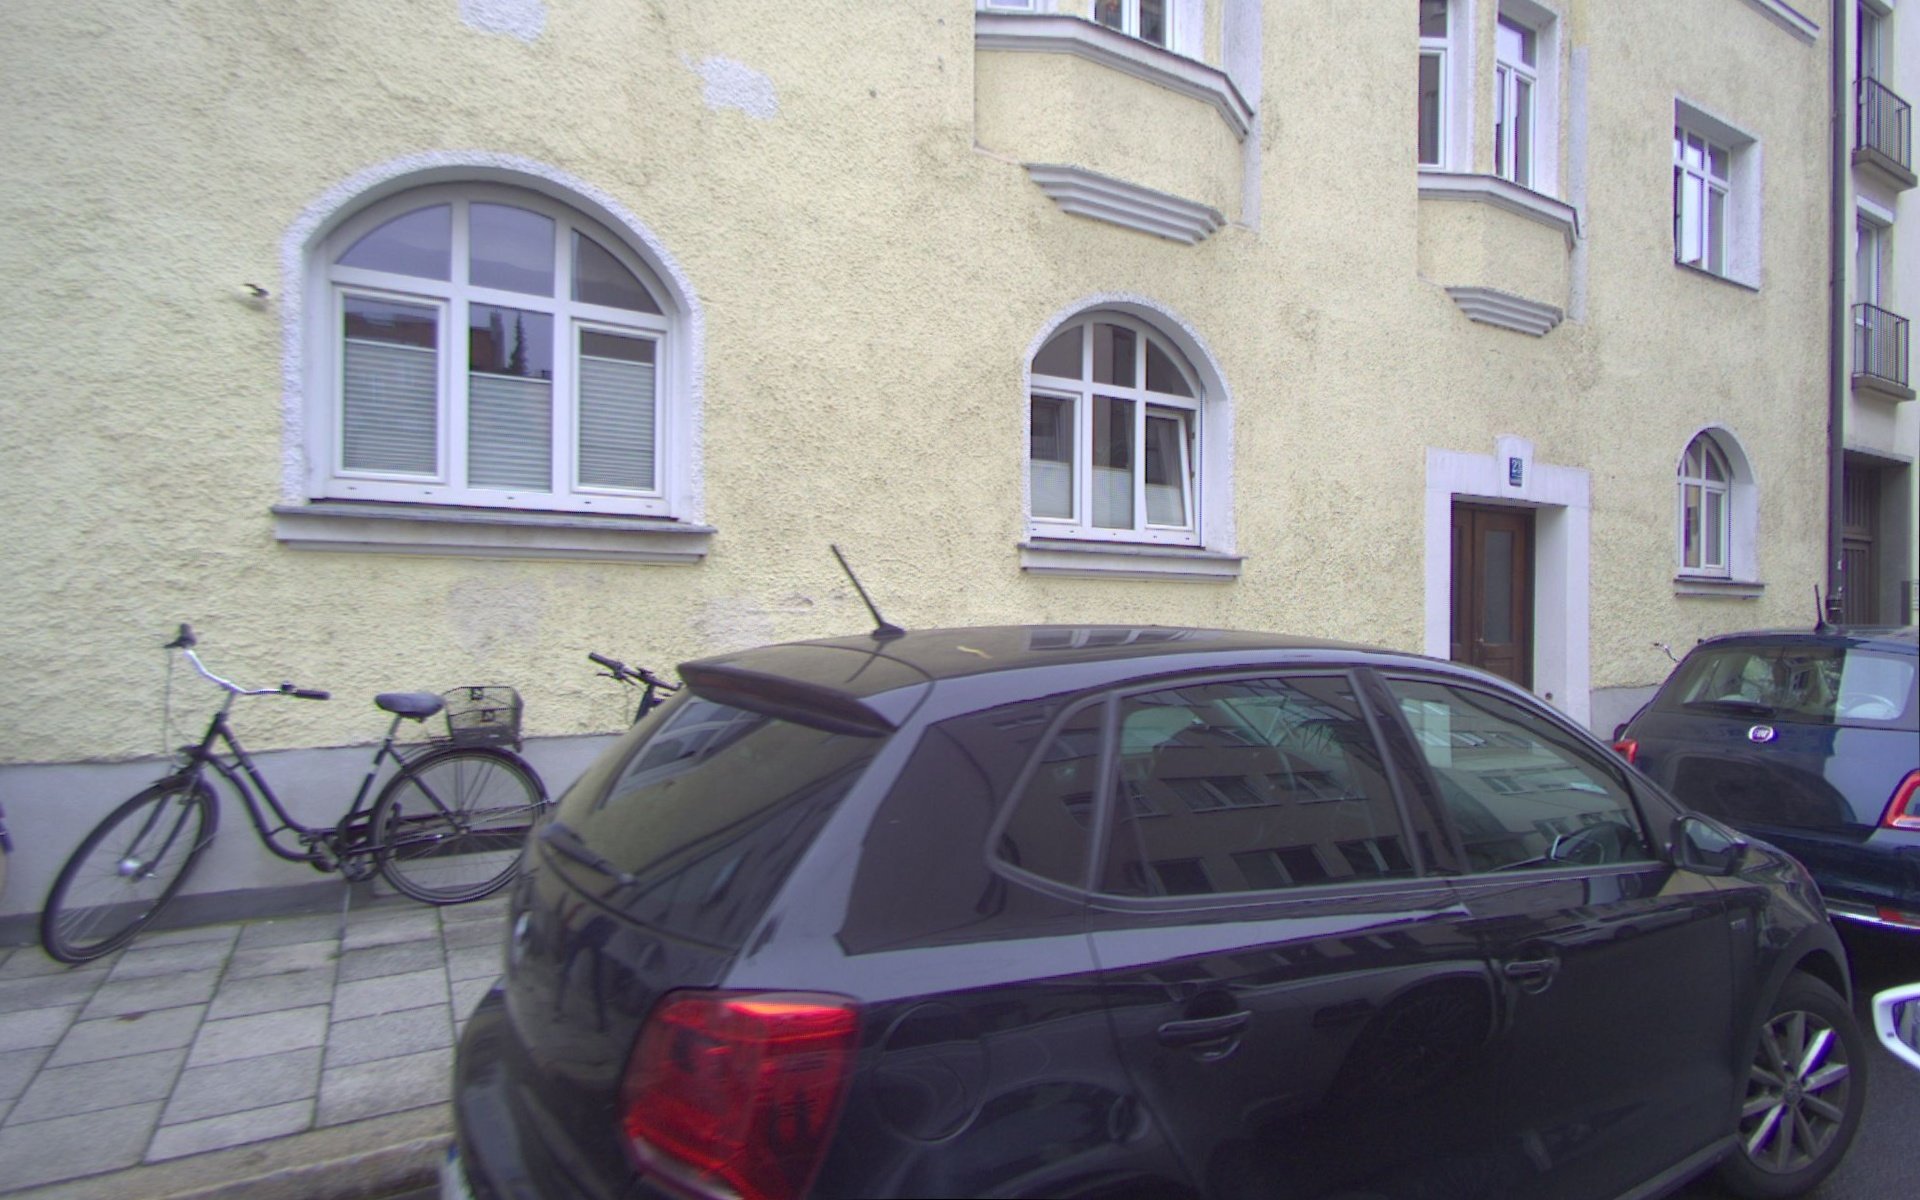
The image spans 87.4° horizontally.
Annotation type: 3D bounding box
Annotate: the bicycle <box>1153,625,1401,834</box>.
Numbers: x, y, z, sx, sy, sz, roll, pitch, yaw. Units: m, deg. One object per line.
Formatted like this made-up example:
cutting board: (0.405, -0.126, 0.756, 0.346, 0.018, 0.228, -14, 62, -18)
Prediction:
bicycle: (2.161, 0.814, 6.775, 1.716, 1.250, 0.590, 2, 0, -31)

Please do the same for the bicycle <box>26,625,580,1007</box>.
bicycle: (-2.487, 0.744, 4.025, 1.716, 1.250, 0.590, 2, 0, -31)

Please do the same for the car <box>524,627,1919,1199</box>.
car: (0.967, 0.826, 2.655, 3.721, 1.479, 1.555, 1, -2, -31)

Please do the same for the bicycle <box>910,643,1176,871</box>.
bicycle: (0.527, 0.869, 5.993, 1.614, 1.206, 0.437, 2, 0, -31)

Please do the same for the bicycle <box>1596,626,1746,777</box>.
bicycle: (6.698, 0.916, 9.448, 1.534, 1.296, 0.532, 2, 2, -31)

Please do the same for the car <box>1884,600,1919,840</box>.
car: (8.997, 0.868, 7.439, 4.360, 1.682, 1.872, 1, -2, -28)

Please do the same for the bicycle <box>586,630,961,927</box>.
bicycle: (-0.892, 0.793, 4.986, 1.716, 1.250, 0.590, 2, 0, -31)

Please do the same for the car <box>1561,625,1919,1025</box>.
car: (4.811, 0.880, 5.048, 3.432, 1.479, 1.557, 1, -2, -28)

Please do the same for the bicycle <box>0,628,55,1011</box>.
bicycle: (-3.986, 0.710, 3.048, 1.716, 1.250, 0.633, 2, 0, -30)

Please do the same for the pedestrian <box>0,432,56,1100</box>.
pedestrian: (-3.021, 0.444, 2.431, 1.055, 1.788, 0.835, 1, 0, -30)

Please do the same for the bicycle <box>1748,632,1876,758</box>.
bicycle: (9.582, 1.035, 11.289, 1.534, 1.296, 0.591, 2, 2, -31)
